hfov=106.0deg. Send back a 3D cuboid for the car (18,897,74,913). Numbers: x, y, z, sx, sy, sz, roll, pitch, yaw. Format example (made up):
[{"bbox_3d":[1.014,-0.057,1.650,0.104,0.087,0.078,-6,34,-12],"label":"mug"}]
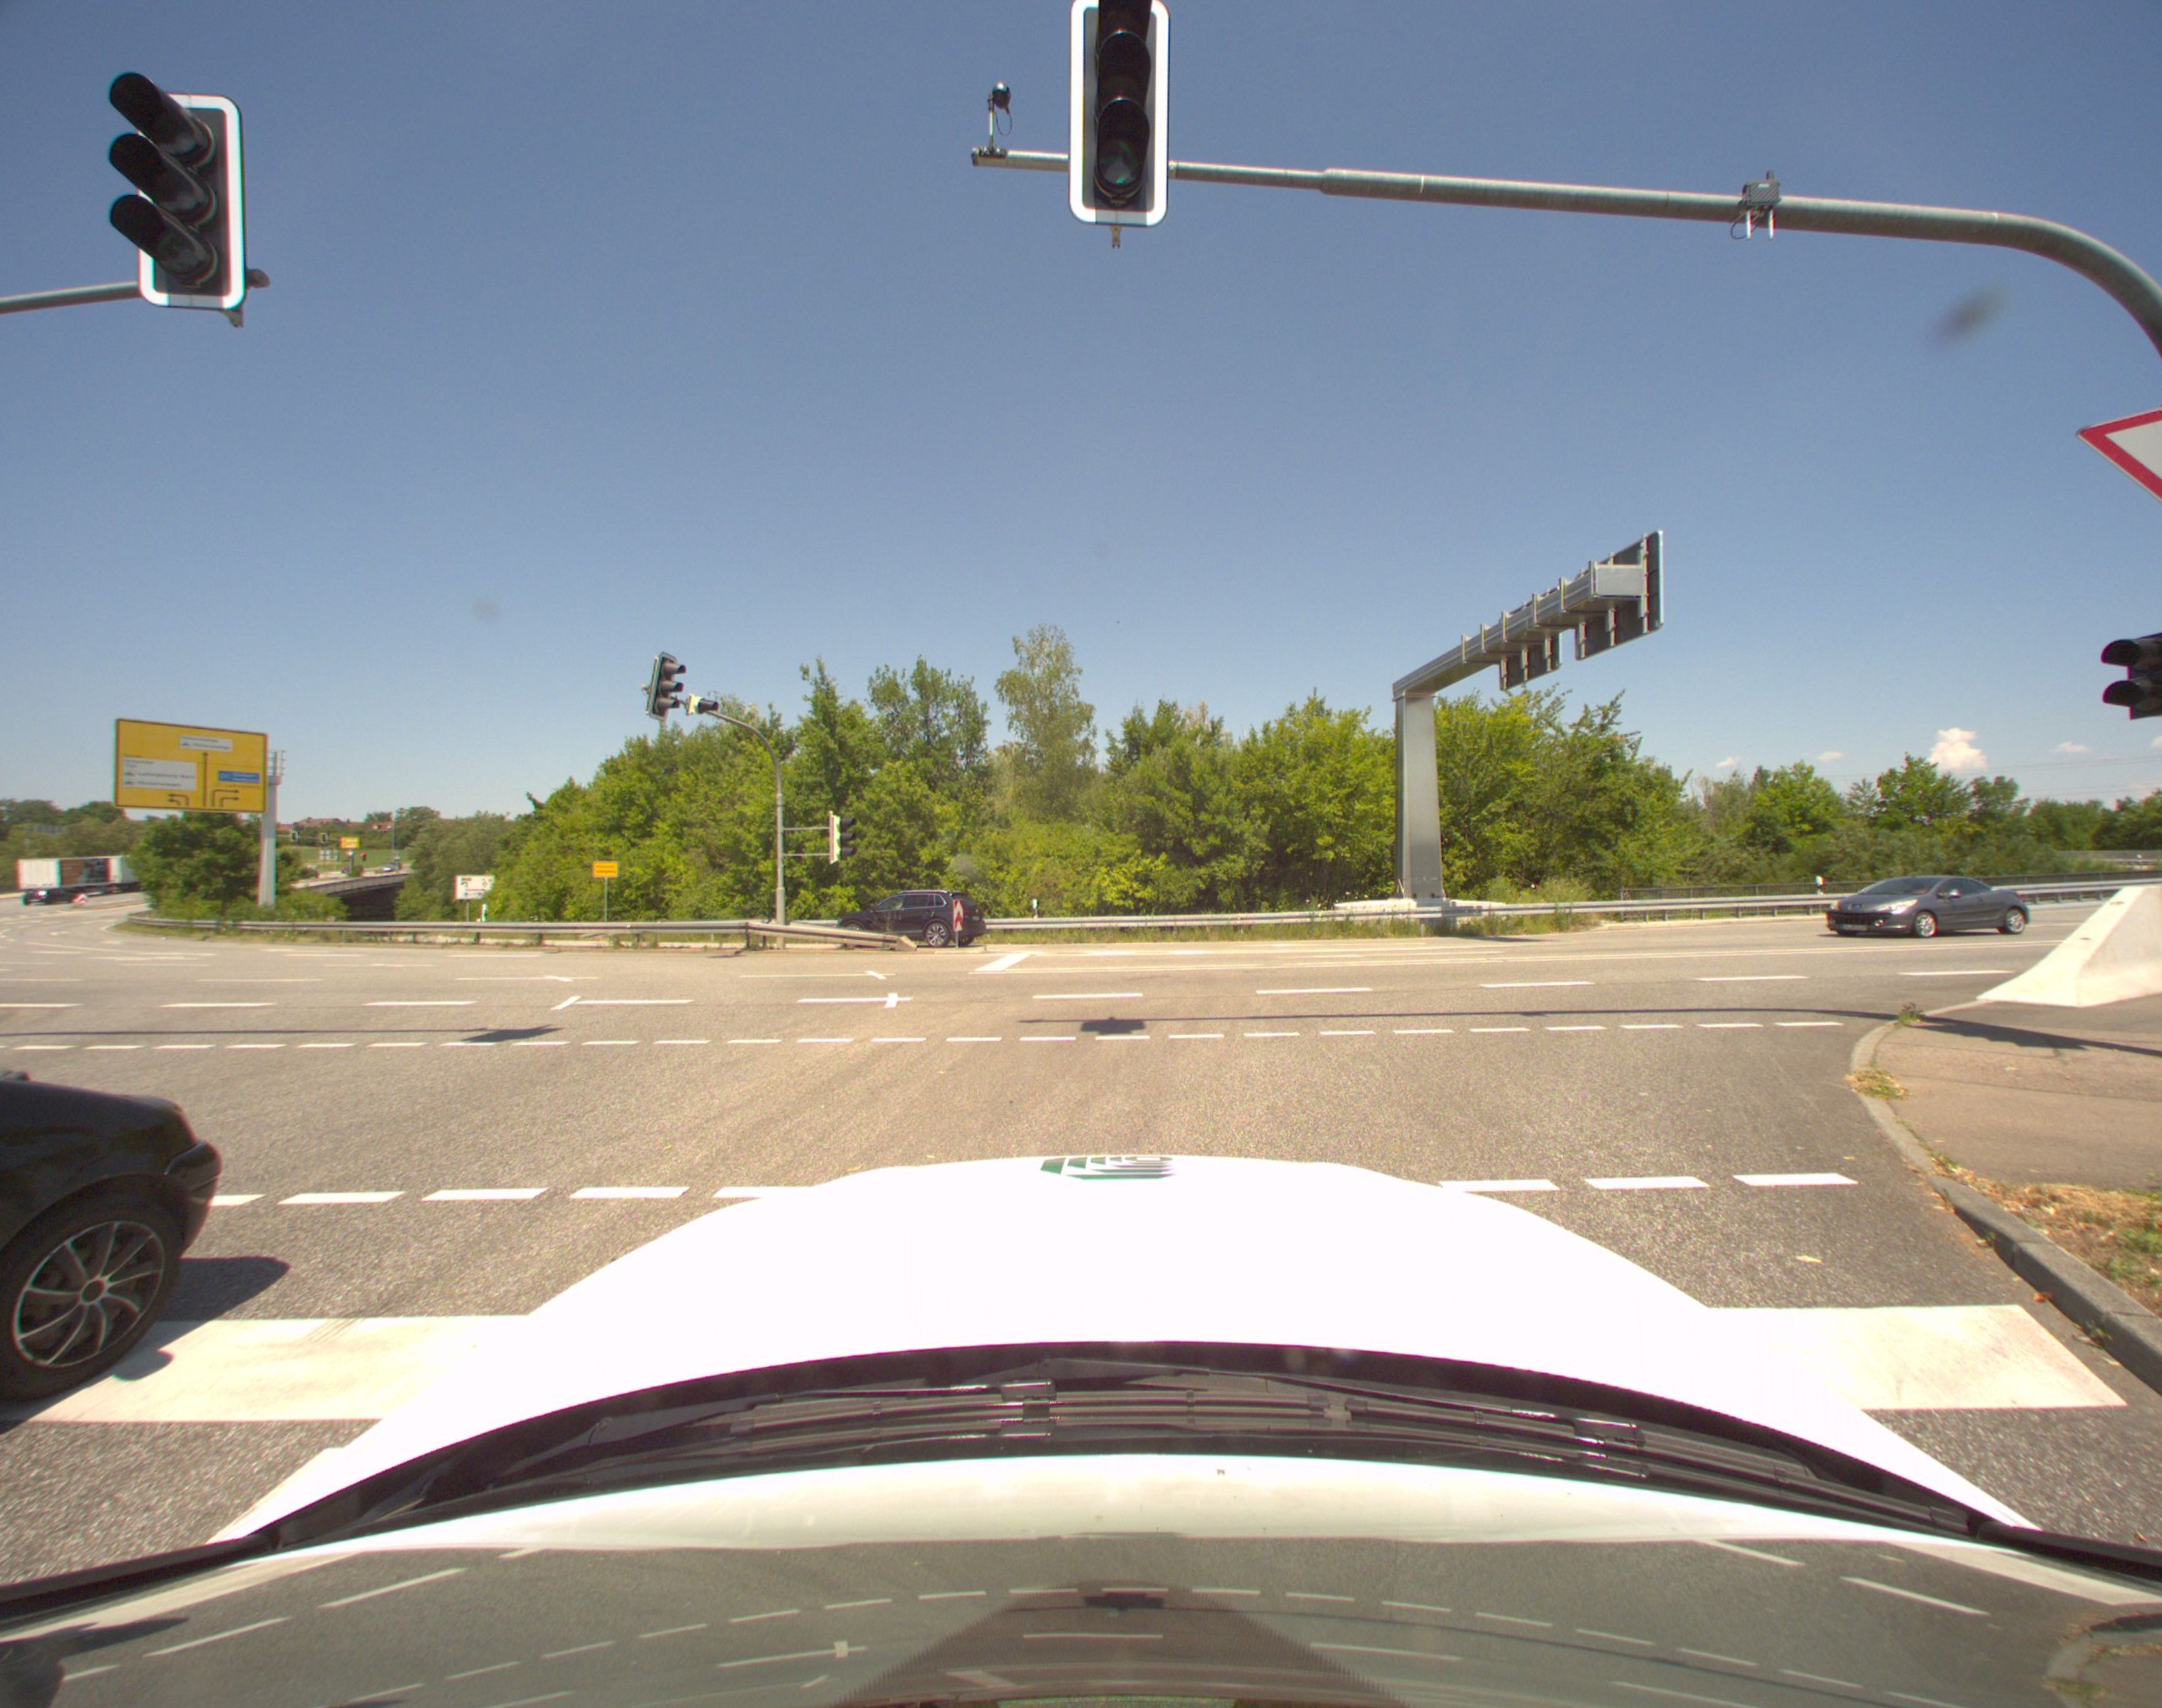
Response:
[{"bbox_3d":[-92.821,4.600,73.094,1.818,1.434,3.888,2,-4,-32],"label":"car"}]

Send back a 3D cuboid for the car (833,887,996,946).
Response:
[{"bbox_3d":[-4.838,1.833,23.828,4.228,1.632,1.912,-2,-5,17],"label":"car"}]

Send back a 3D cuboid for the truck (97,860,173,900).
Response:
[{"bbox_3d":[-105.378,2.796,90.852,3.248,4.248,6.184,0,0,-26],"label":"truck"}]

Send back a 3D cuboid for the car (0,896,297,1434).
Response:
[{"bbox_3d":[-3.674,0.848,1.350,1.615,1.407,3.297,-1,-1,-3],"label":"car"}]

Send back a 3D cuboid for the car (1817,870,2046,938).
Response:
[{"bbox_3d":[19.596,1.142,18.839,3.954,1.352,1.645,-1,-3,-9],"label":"car"}]

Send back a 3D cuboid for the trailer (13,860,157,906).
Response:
[{"bbox_3d":[-102.094,2.768,84.013,3.248,4.248,15.276,0,0,-26],"label":"trailer"}]
